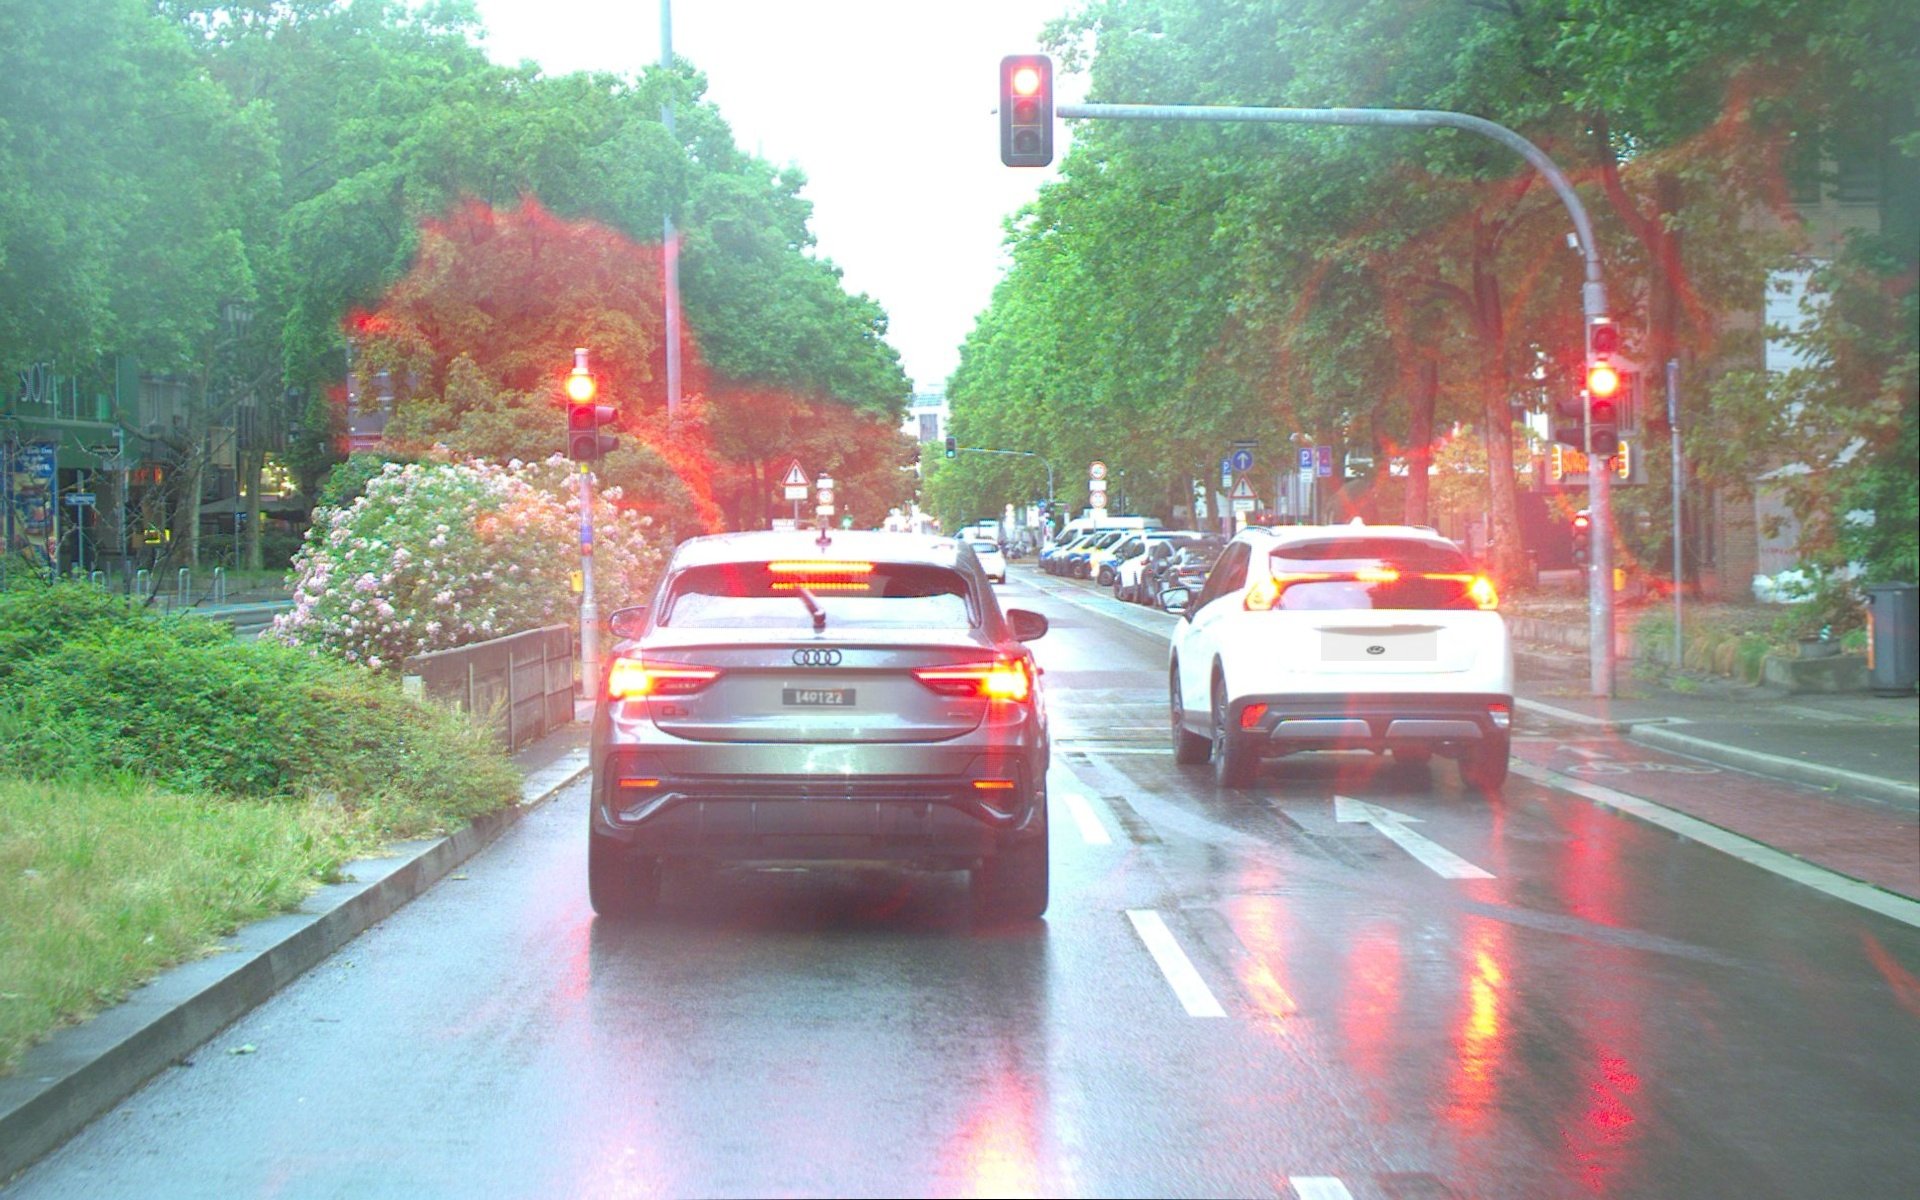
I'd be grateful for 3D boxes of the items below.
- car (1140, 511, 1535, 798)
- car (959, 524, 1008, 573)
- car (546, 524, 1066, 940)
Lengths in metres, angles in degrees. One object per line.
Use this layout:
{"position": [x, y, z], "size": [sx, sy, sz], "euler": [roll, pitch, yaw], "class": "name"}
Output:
{"position": [2.375, 0.261, 22.880], "size": [1.993, 1.649, 4.889], "euler": [0, 2, -1], "class": "car"}
{"position": [0.828, -1.849, 122.911], "size": [1.620, 1.660, 4.001], "euler": [-1, 2, -1], "class": "car"}
{"position": [-0.610, 0.447, 14.776], "size": [1.918, 1.486, 4.001], "euler": [0, 2, -1], "class": "car"}
